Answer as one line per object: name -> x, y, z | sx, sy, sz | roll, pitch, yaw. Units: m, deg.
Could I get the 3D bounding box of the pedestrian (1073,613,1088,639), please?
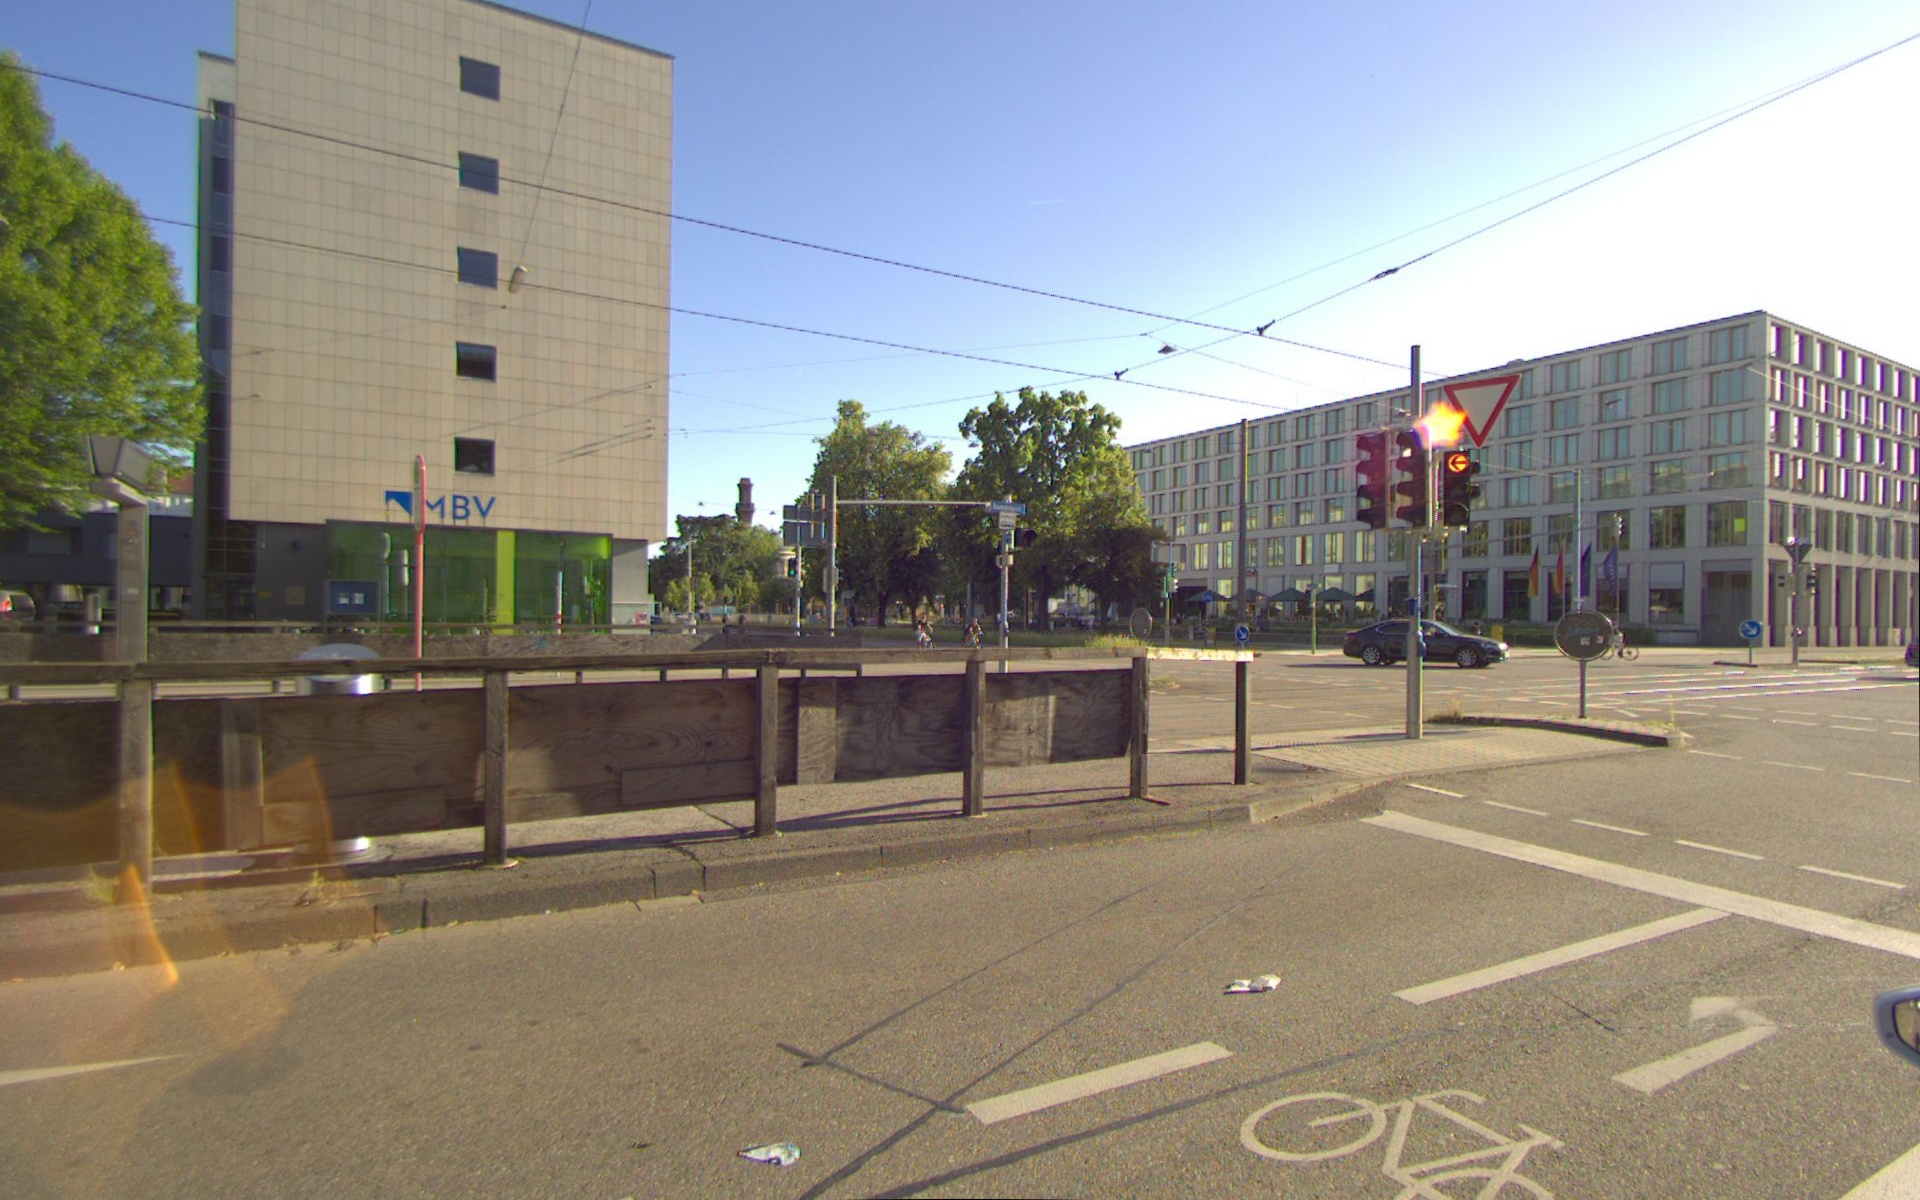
pedestrian -> 8.903, 1.928, 74.216 | 0.863, 1.925, 0.713 | 2, 0, -25

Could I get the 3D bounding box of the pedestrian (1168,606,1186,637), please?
pedestrian -> 14.580, 1.458, 67.468 | 0.812, 2.040, 0.841 | 2, 0, -20

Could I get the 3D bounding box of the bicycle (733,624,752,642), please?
bicycle -> -13.986, 2.120, 64.604 | 0.616, 1.148, 1.869 | 1, -1, -31

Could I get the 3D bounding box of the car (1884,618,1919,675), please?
car -> 29.155, 1.335, 28.358 | 4.717, 1.586, 1.896 | 1, -1, -7

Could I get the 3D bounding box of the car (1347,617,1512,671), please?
car -> 14.631, 1.327, 31.455 | 4.370, 1.474, 1.656 | 1, 0, 44

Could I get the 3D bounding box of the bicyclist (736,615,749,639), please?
bicyclist -> -14.016, 1.731, 64.659 | 0.602, 1.544, 0.709 | 1, -1, -32

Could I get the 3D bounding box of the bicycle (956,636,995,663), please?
bicycle -> 0.555, 1.810, 37.168 | 0.638, 0.947, 1.734 | 1, -1, -31

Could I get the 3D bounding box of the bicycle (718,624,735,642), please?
bicycle -> -14.851, 2.080, 63.868 | 0.574, 1.148, 1.776 | 1, -1, -31

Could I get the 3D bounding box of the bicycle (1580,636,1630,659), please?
bicycle -> 28.945, 2.119, 45.081 | 1.833, 0.947, 0.760 | 0, -1, 37

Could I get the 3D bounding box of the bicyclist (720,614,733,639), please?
bicyclist -> -14.872, 1.679, 63.940 | 0.647, 1.544, 0.615 | 1, -1, -32

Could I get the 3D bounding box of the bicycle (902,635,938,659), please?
bicycle -> -1.642, 1.904, 41.016 | 0.554, 0.947, 1.846 | 1, -1, -34

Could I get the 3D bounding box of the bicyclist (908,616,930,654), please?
bicyclist -> -1.679, 1.431, 41.071 | 0.600, 1.544, 0.758 | 1, -1, -34

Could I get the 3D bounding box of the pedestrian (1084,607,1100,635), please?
pedestrian -> 9.787, 1.563, 74.610 | 0.813, 2.040, 0.840 | 2, 0, -25

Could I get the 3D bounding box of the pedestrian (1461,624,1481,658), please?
pedestrian -> 24.978, 2.001, 49.108 | 0.770, 1.610, 0.585 | 1, -1, -37

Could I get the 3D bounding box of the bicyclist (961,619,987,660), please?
bicyclist -> 0.513, 1.458, 37.223 | 0.610, 1.470, 0.794 | 1, -1, -31

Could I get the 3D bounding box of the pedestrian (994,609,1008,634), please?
pedestrian -> 3.395, 1.793, 83.332 | 0.813, 2.040, 0.840 | 2, 0, -25

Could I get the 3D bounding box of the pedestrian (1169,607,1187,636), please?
pedestrian -> 14.302, 1.413, 66.036 | 0.862, 1.925, 0.714 | 2, 0, -22

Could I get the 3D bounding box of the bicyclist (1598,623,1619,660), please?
bicyclist -> 29.064, 1.854, 45.006 | 0.765, 1.610, 0.759 | 0, -1, 37
